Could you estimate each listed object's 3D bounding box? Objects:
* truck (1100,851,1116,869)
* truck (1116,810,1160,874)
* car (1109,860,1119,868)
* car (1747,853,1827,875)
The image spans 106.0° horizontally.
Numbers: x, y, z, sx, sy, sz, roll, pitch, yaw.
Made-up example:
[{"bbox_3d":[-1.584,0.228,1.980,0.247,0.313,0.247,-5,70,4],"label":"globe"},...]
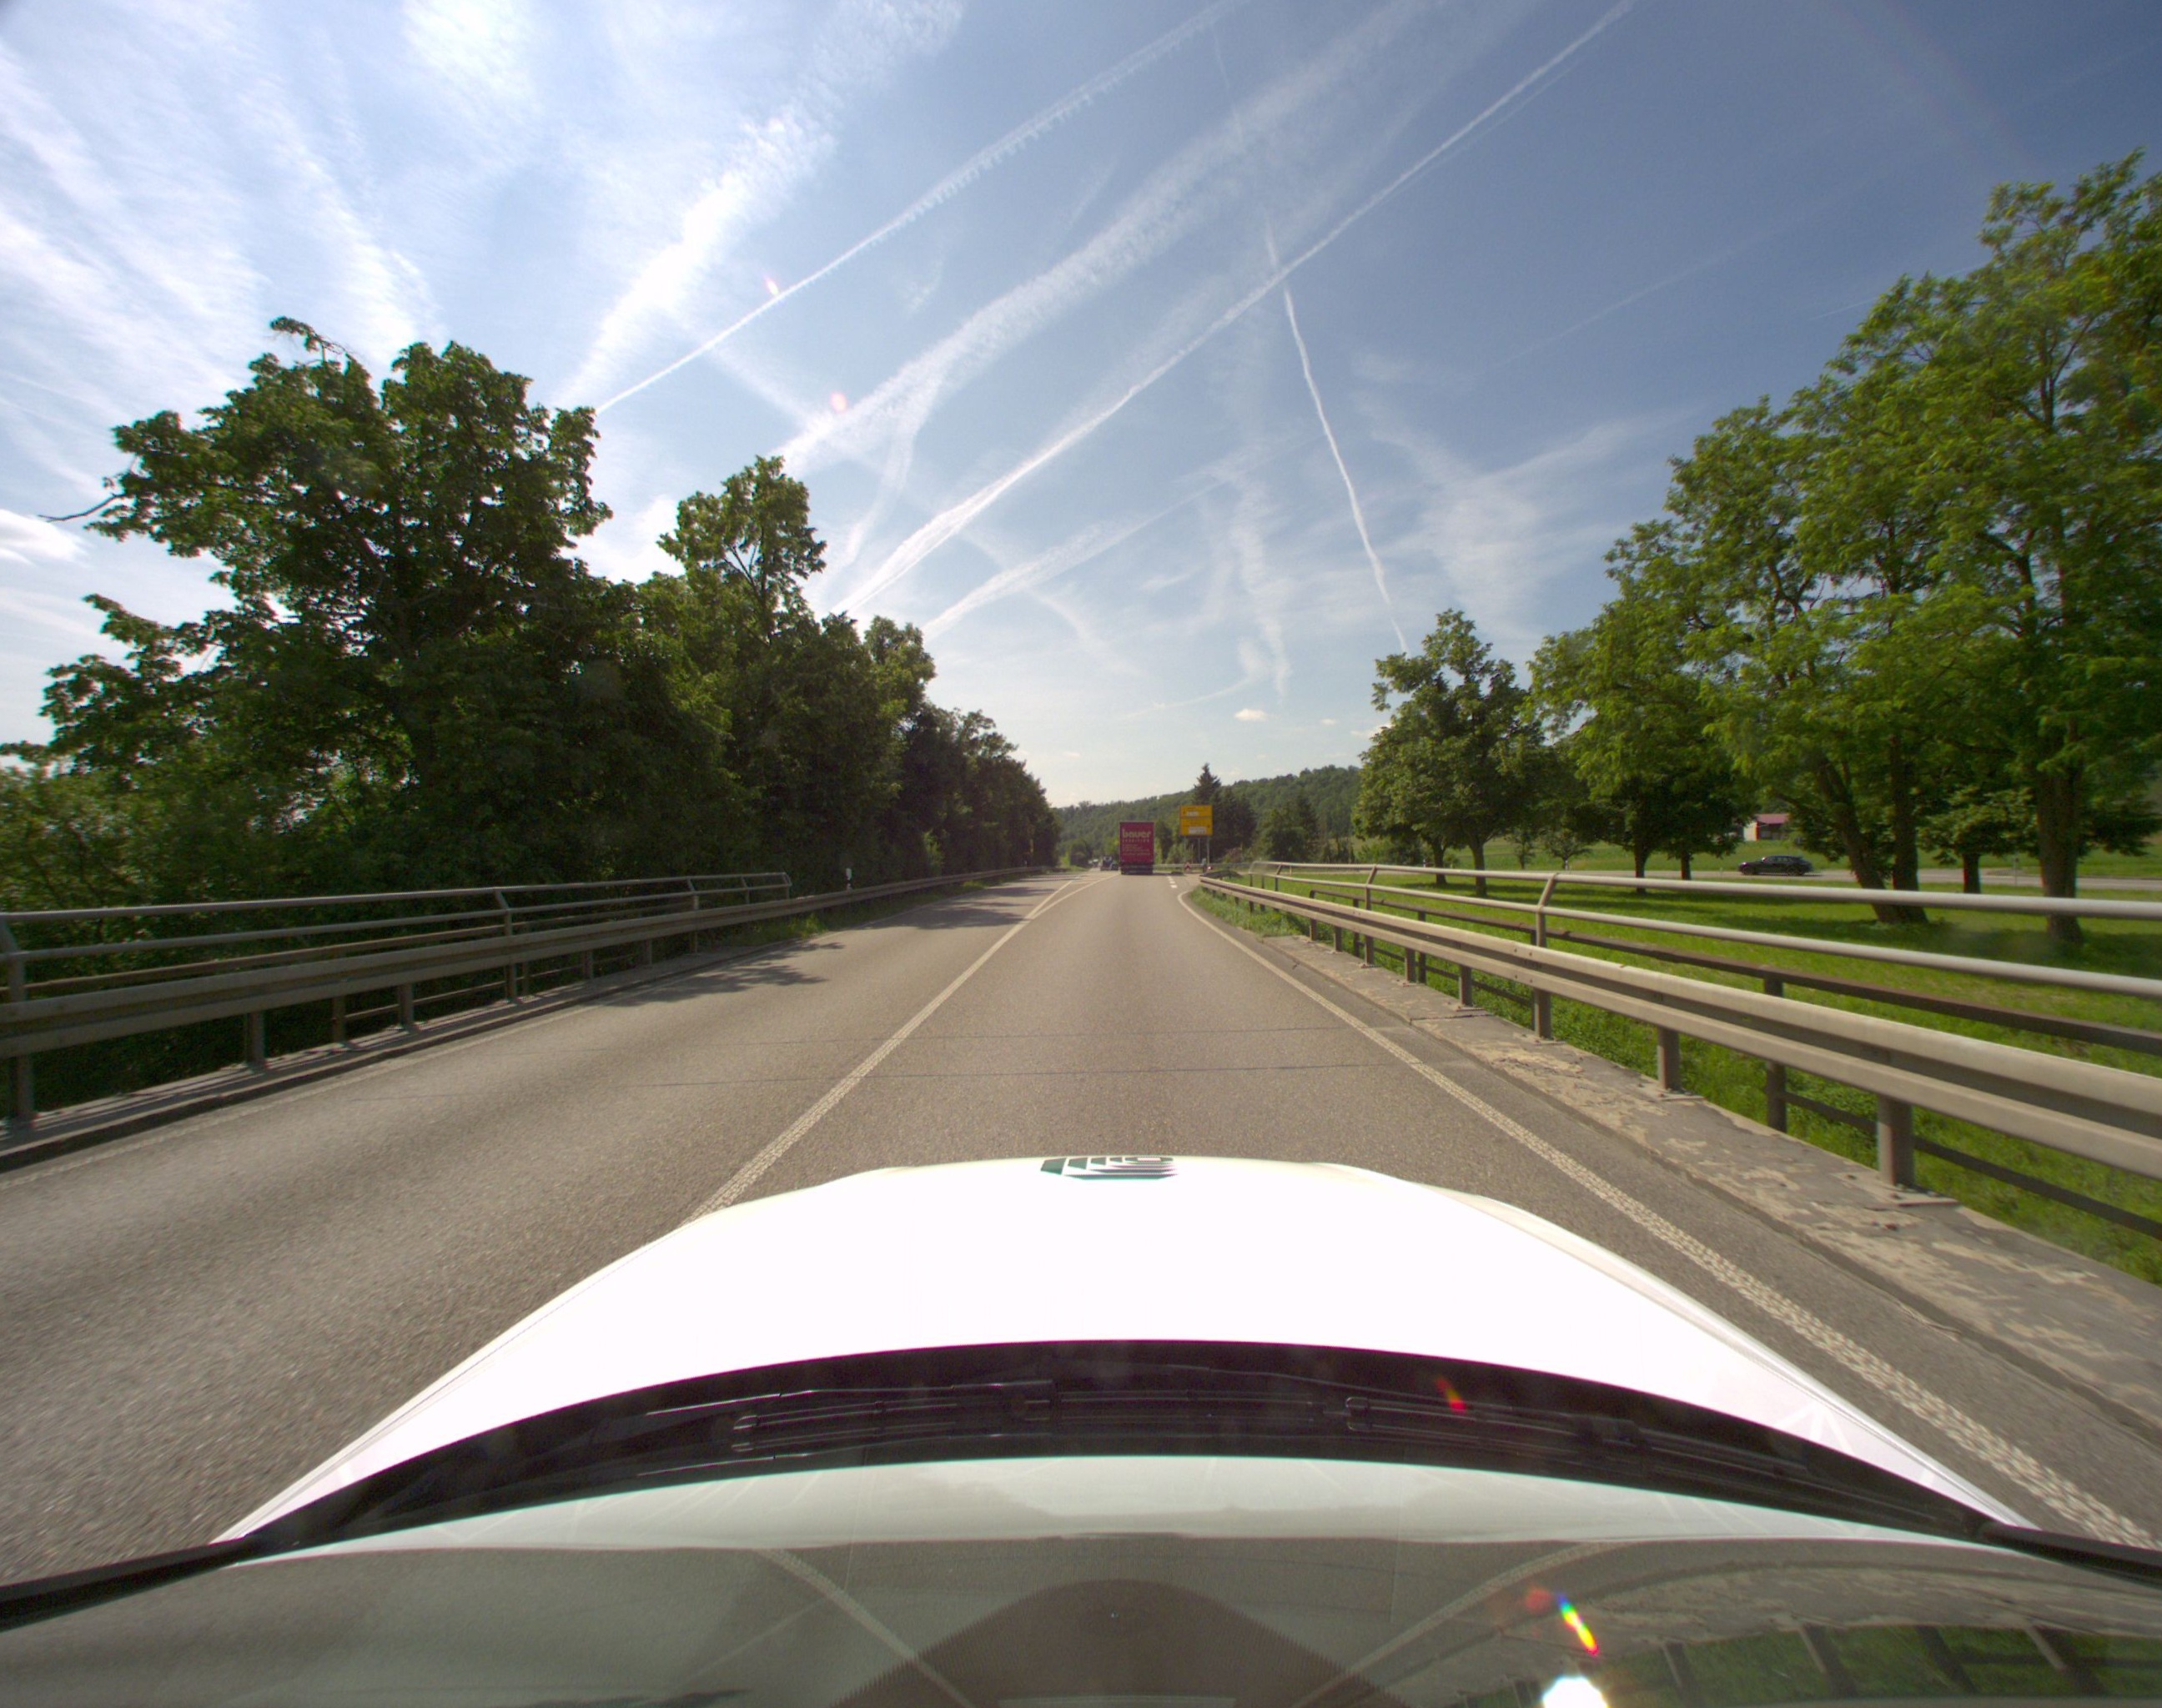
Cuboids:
[{"bbox_3d":[6.986,1.699,212.789,3.892,4.370,13.288,2,-1,0],"label":"truck"},{"bbox_3d":[4.585,-0.830,65.964,3.158,4.625,13.556,-1,0,4],"label":"truck"},{"bbox_3d":[7.276,2.270,181.707,1.987,1.810,3.999,2,-1,0],"label":"car"},{"bbox_3d":[55.593,0.750,64.198,2.071,1.589,4.385,-1,1,-31],"label":"car"}]
